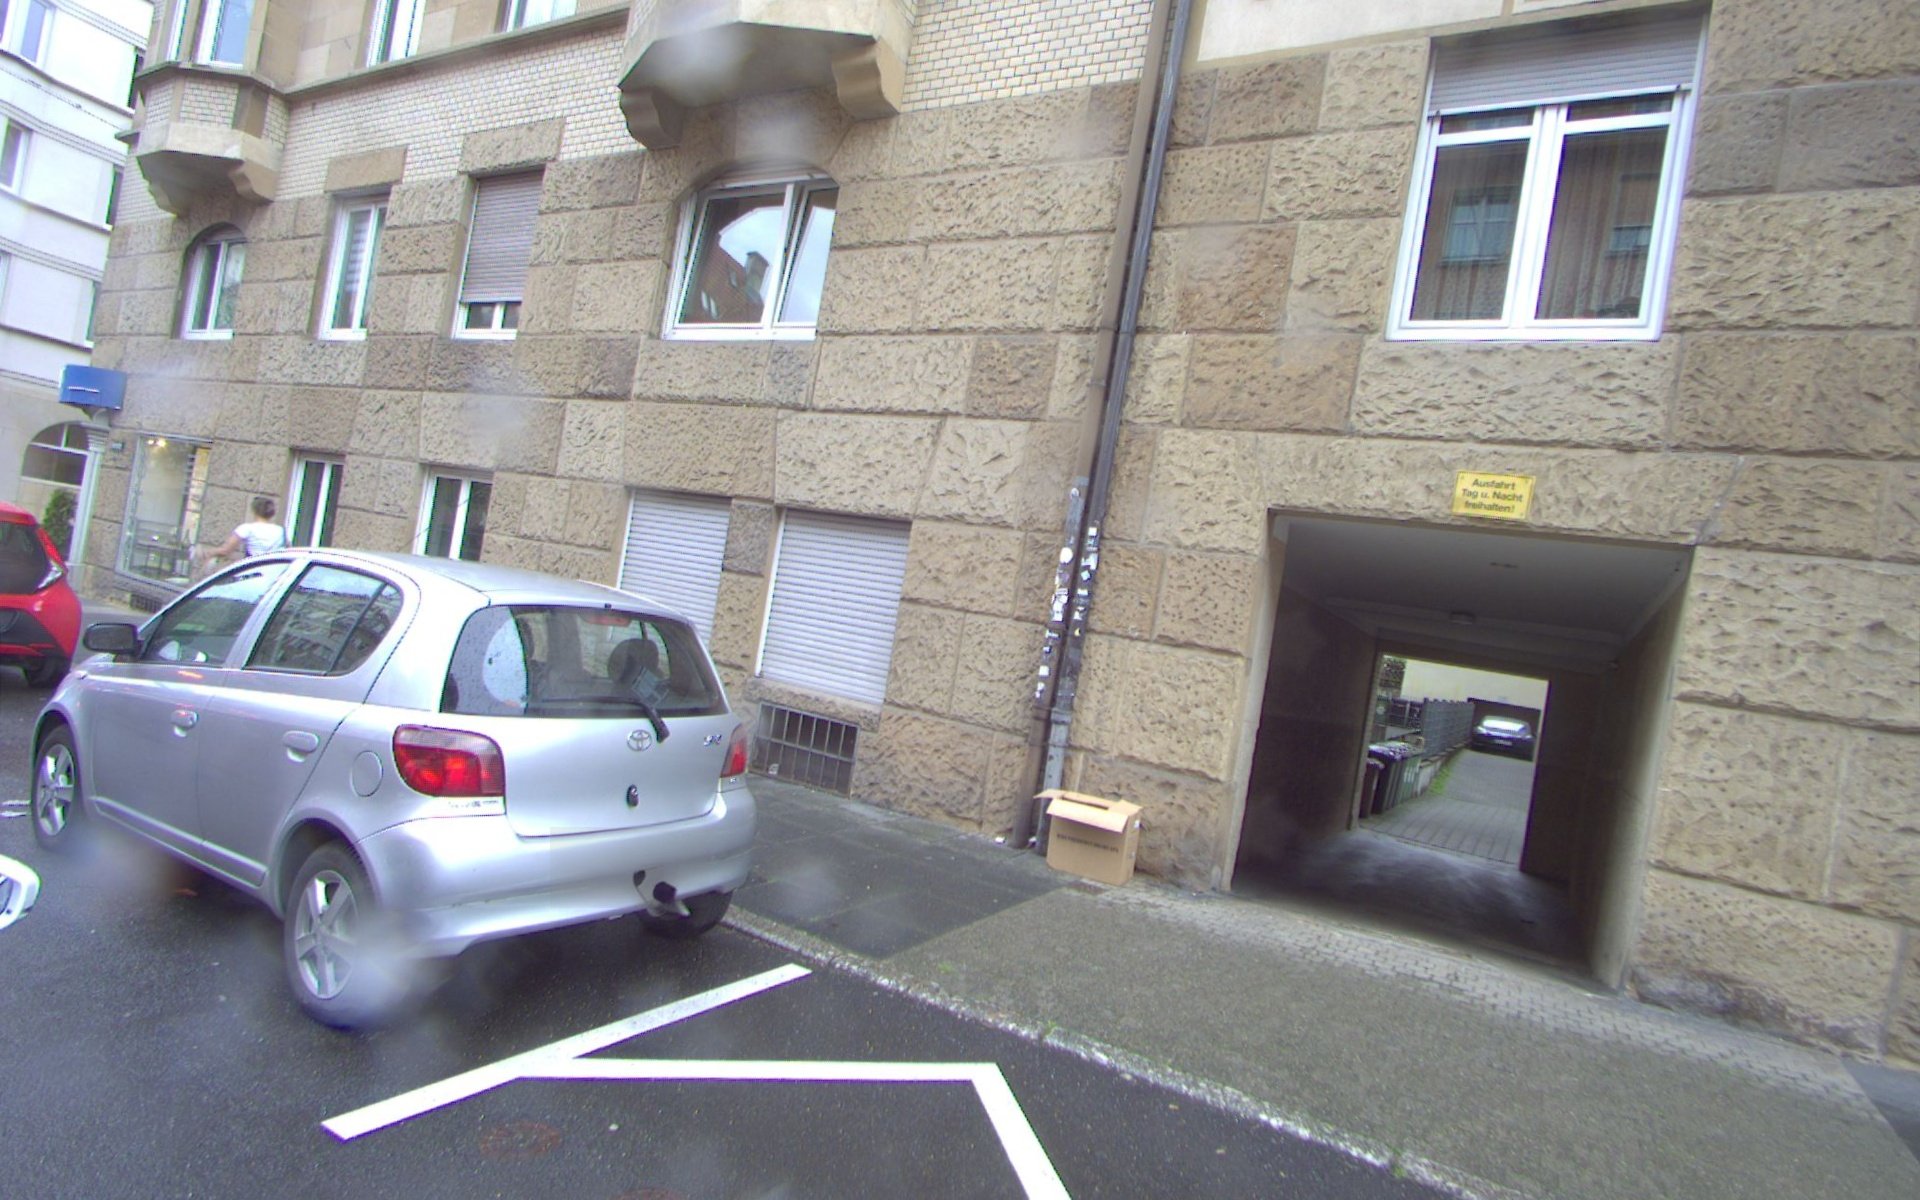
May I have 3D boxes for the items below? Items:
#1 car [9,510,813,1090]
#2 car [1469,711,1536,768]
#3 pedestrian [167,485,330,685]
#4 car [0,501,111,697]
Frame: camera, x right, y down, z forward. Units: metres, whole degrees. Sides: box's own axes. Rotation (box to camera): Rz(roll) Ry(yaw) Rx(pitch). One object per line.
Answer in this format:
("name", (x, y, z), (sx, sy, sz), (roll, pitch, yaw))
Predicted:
("car", (-2.485, 0.552, 4.402), (3.258, 1.485, 1.616), (7, 0, 33))
("car", (18.340, 4.695, 33.945), (1.693, 1.538, 4.102), (7, -3, 31))
("pedestrian", (-6.844, -0.141, 9.678), (1.093, 1.768, 0.743), (6, -1, 32))
("car", (-8.734, -0.195, 8.180), (3.243, 1.464, 1.646), (7, -2, 29))
